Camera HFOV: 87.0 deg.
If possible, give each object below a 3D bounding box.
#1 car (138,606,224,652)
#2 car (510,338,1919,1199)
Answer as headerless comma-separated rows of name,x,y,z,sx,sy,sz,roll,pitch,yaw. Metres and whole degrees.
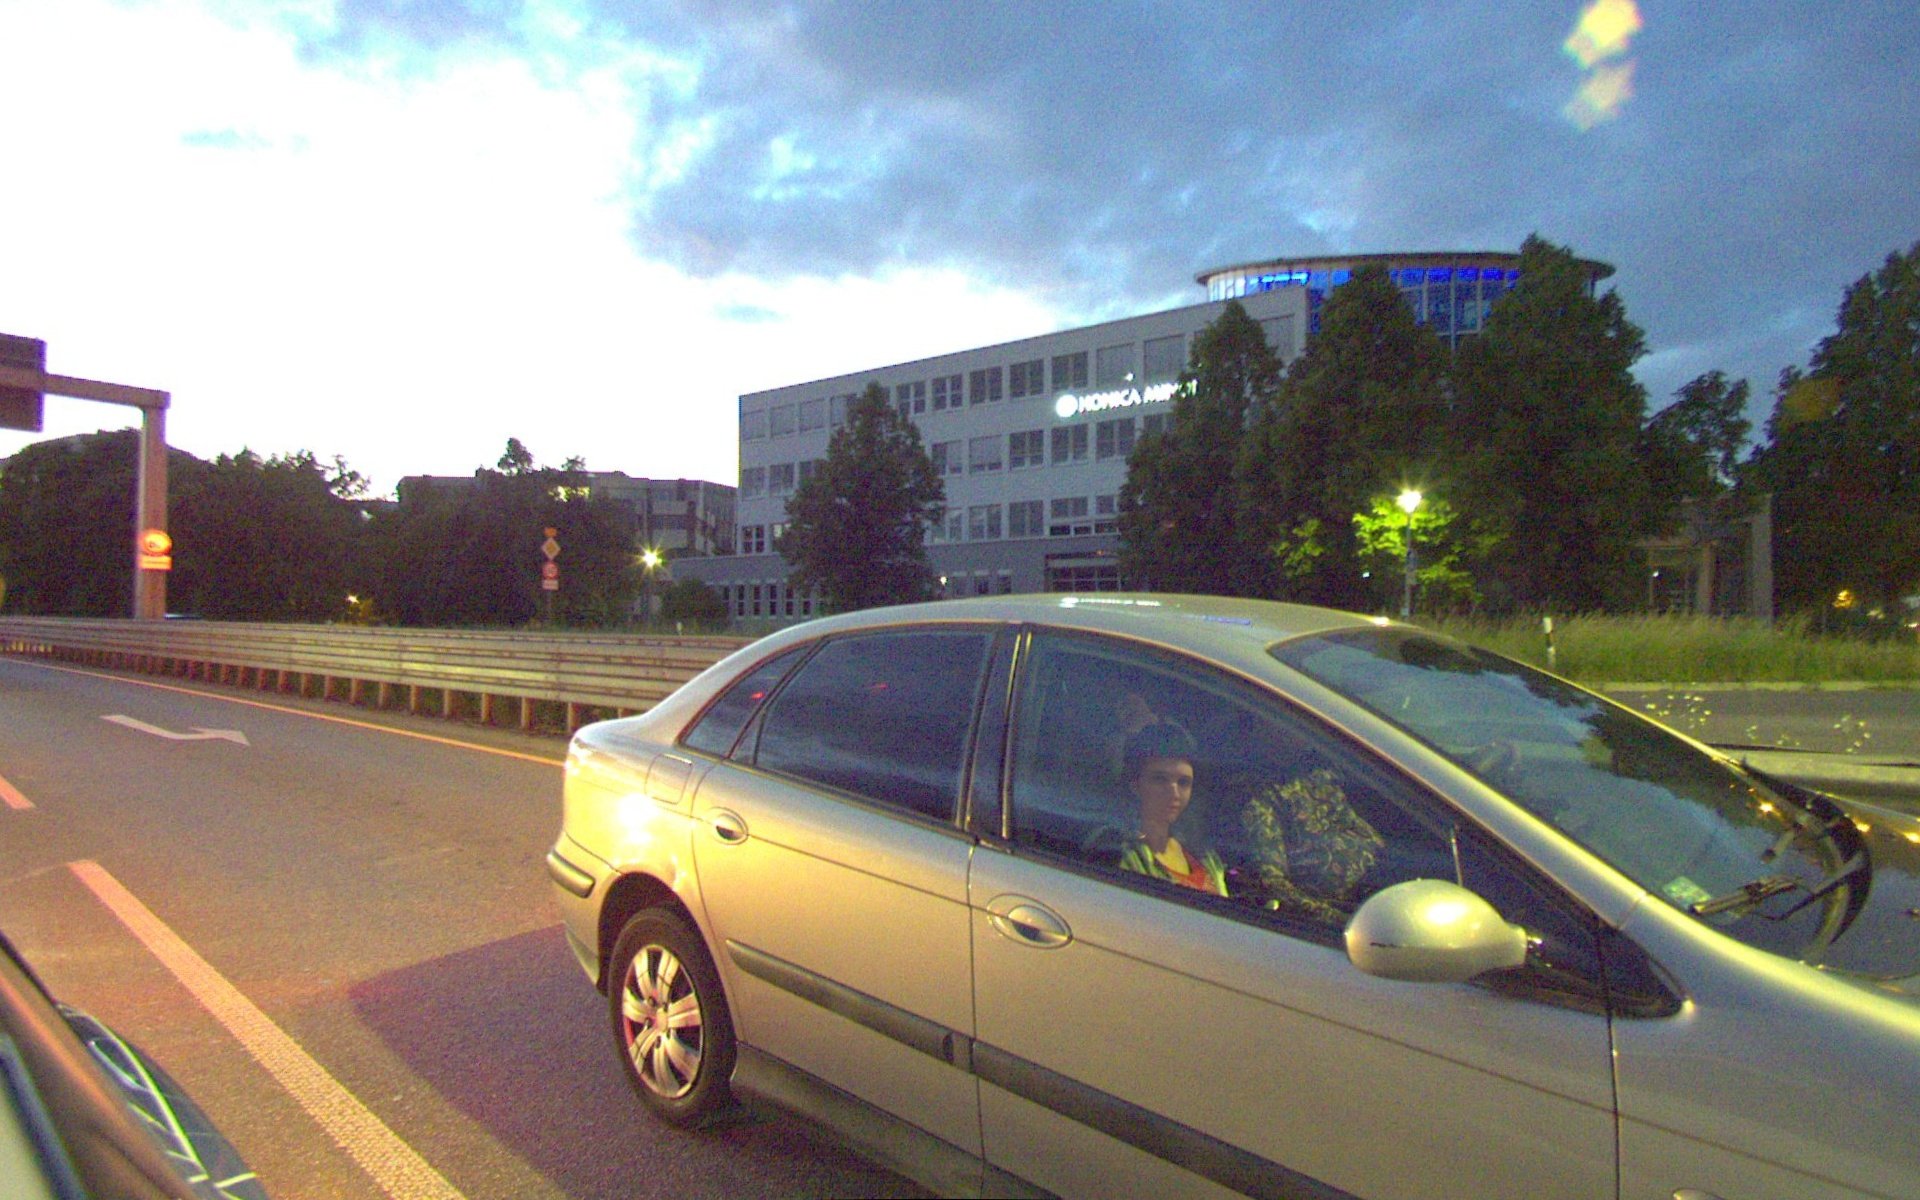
car,-26.408,0.974,34.263,4.111,1.454,1.738,-2,-2,44
car,0.738,0.563,2.428,4.409,1.665,1.648,-1,0,42
